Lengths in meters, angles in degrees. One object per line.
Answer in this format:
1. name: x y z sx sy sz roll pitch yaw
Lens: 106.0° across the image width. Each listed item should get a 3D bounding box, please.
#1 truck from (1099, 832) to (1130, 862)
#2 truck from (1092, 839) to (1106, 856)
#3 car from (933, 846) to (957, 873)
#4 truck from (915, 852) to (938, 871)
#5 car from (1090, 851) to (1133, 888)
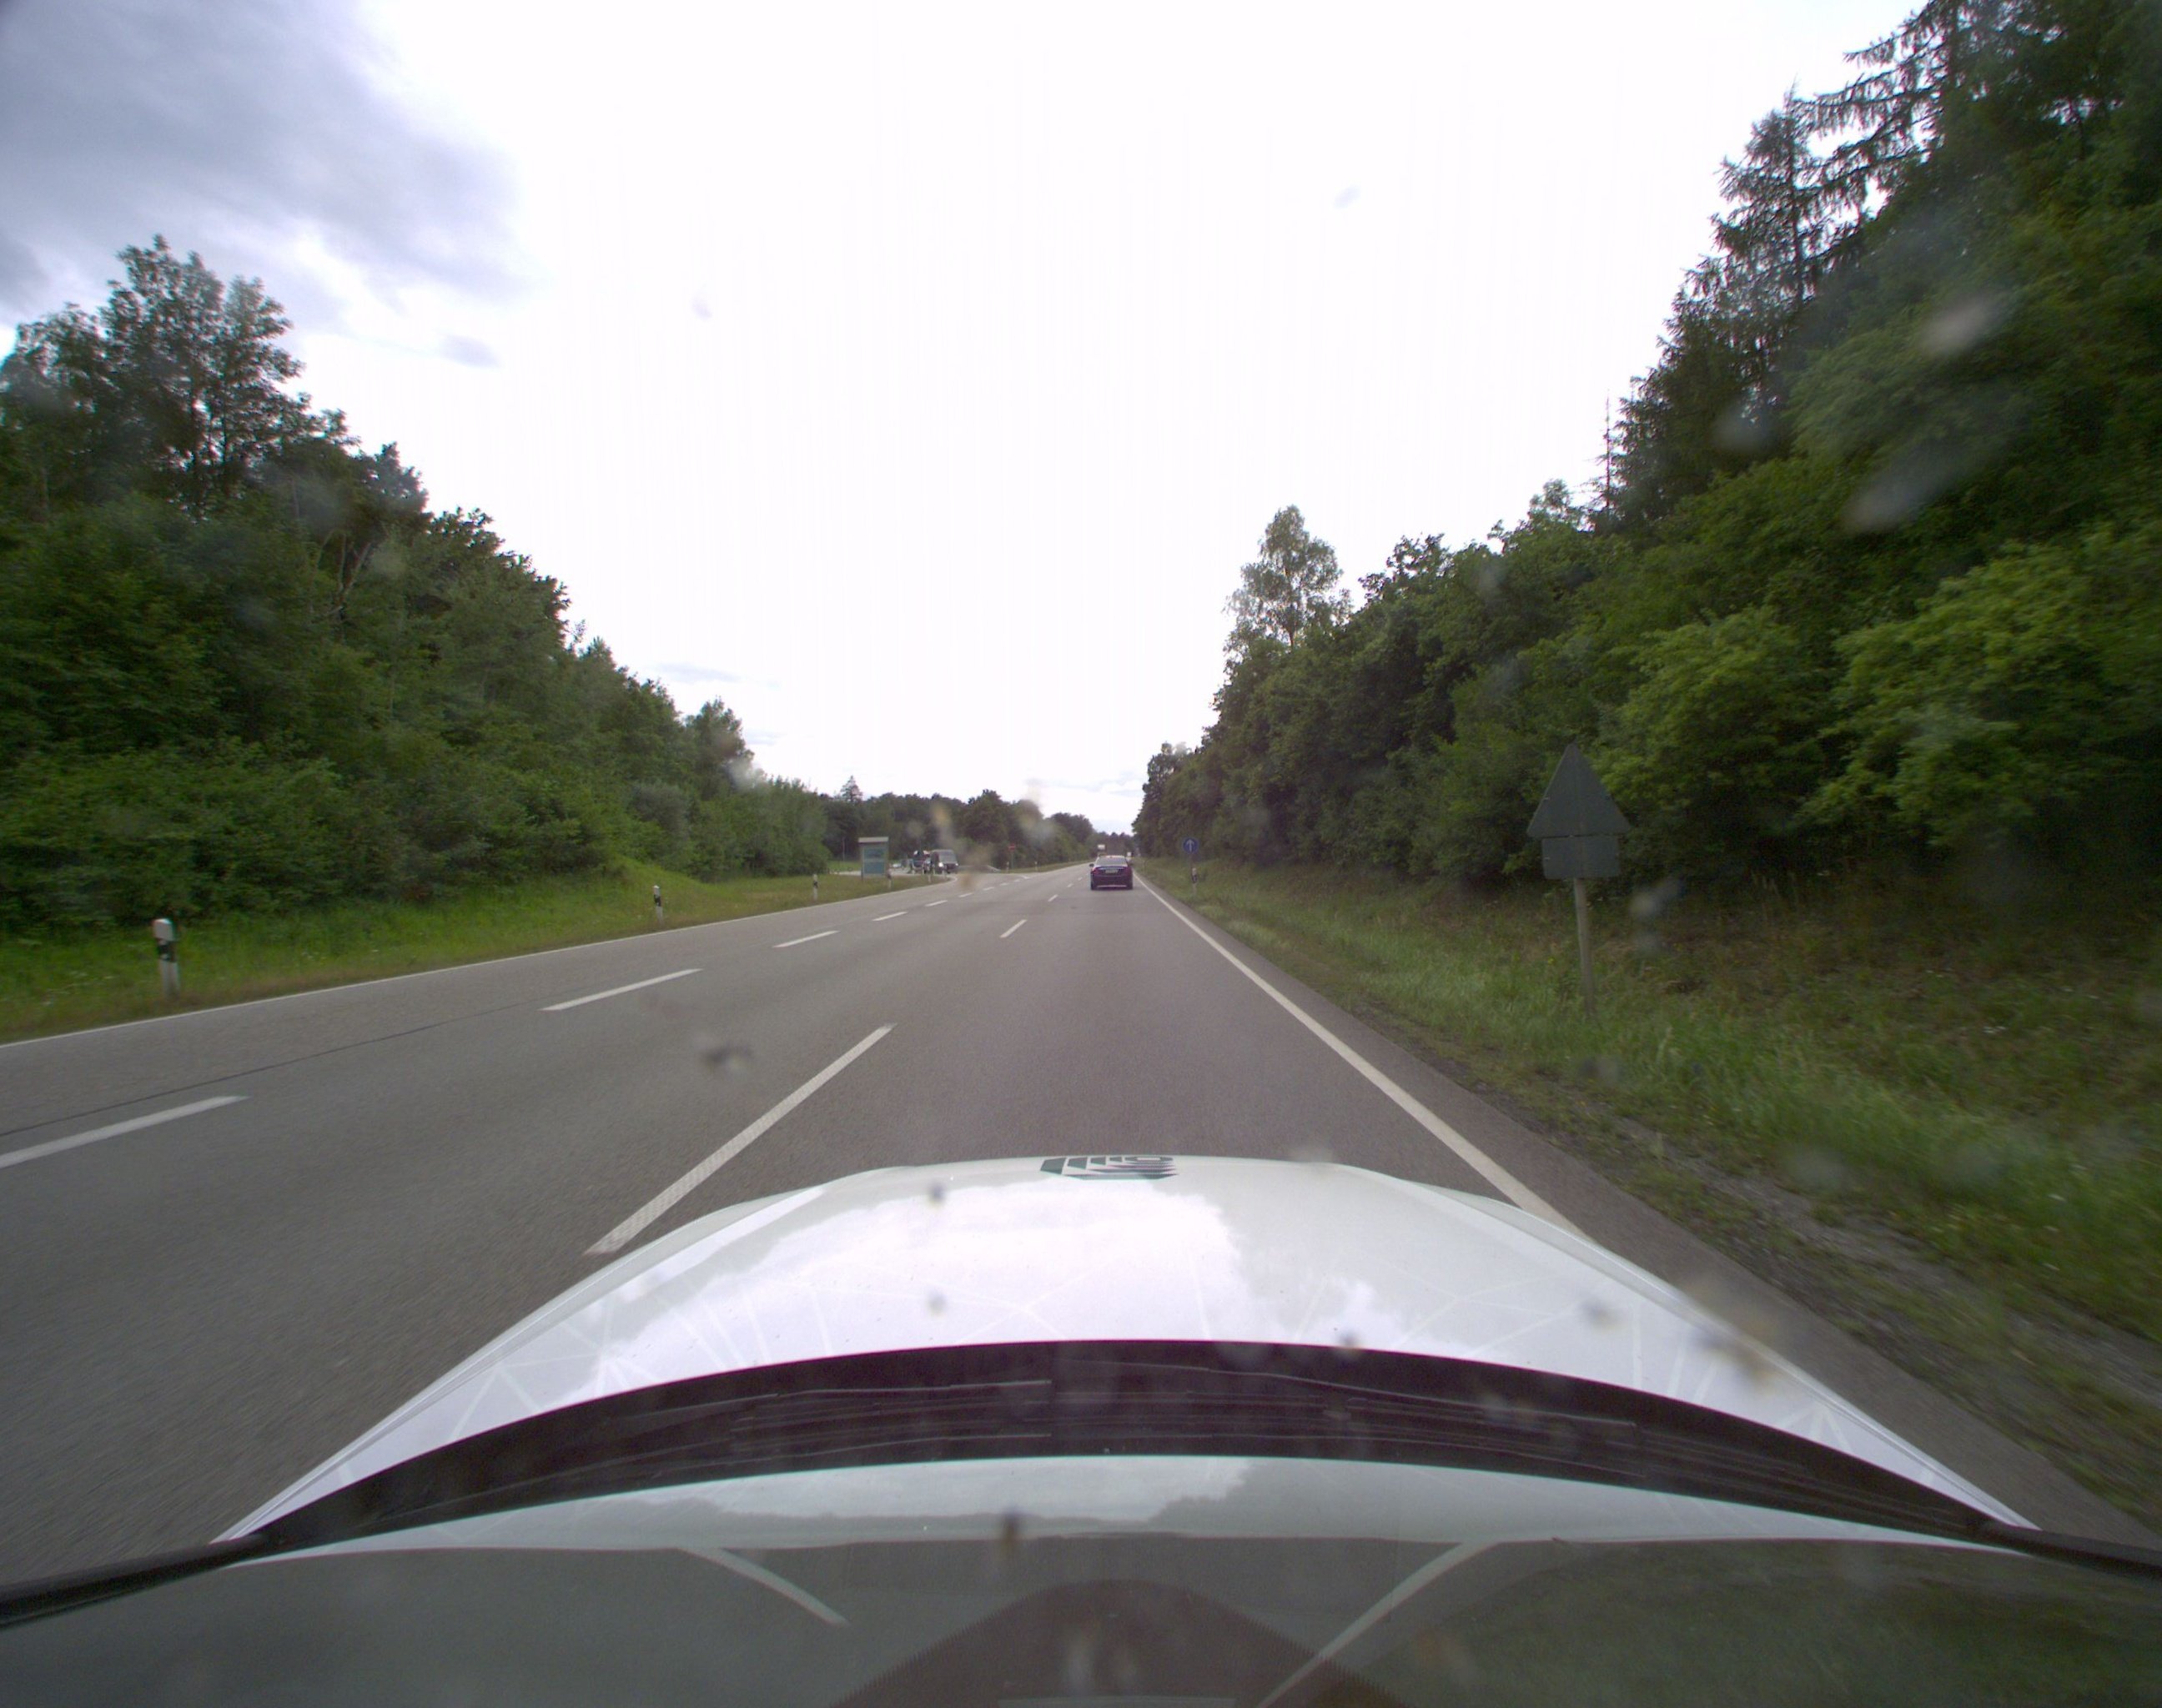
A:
1. truck: 4.507 -0.850 106.740 3.265 3.611 11.417 -1 0 6
2. truck: 4.408 -1.630 201.457 3.177 4.062 9.582 -1 0 3
3. car: -14.408 0.590 86.194 2.256 2.529 7.140 -4 0 -9
4. truck: -25.284 1.213 133.656 1.986 3.012 7.230 -1 0 2
5. car: 1.338 0.666 36.358 1.785 1.552 4.001 -1 0 2
